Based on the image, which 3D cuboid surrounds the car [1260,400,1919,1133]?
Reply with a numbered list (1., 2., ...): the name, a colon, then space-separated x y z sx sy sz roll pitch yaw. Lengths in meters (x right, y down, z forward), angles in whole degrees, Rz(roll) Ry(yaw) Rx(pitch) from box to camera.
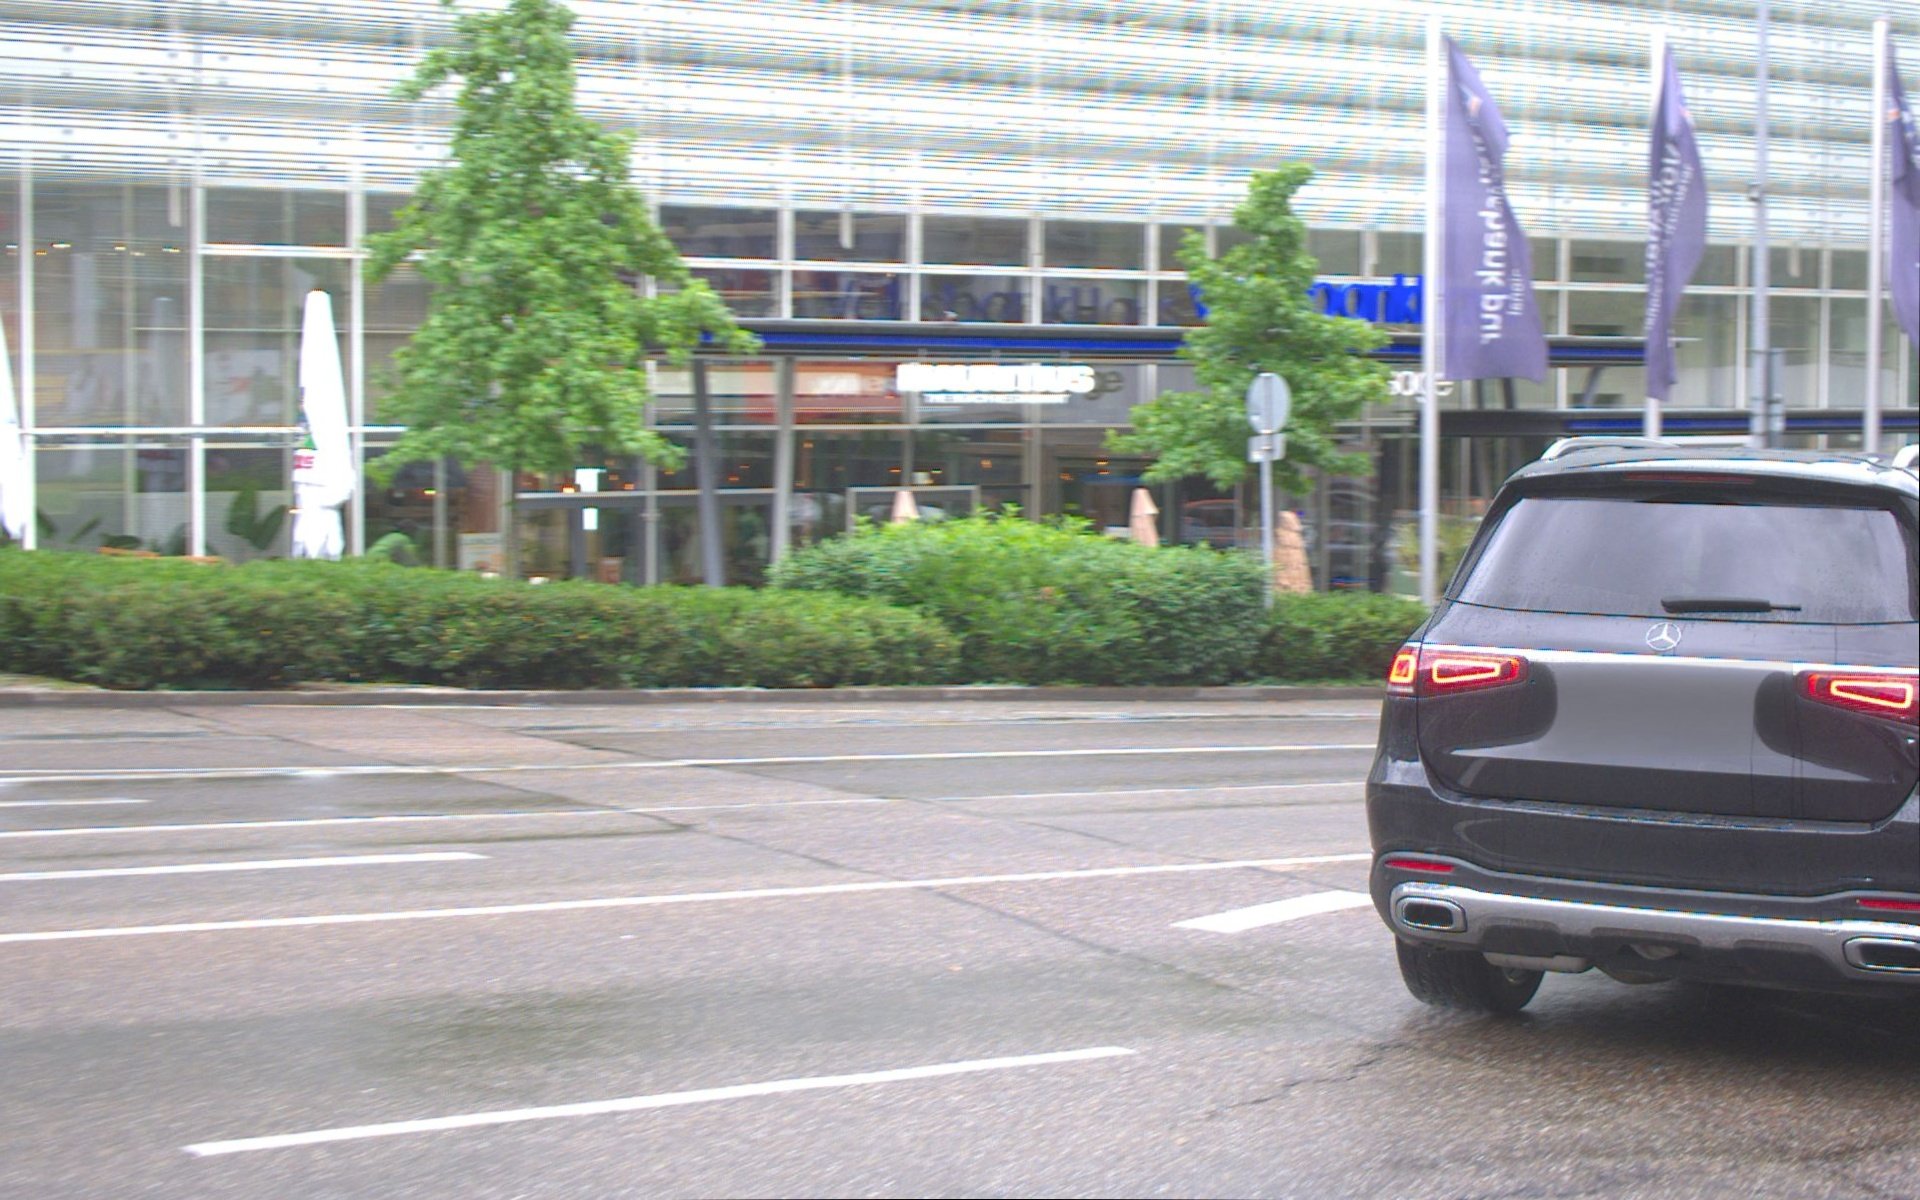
1. car: 2.949 0.390 11.350 2.091 1.810 4.785 5 3 28
